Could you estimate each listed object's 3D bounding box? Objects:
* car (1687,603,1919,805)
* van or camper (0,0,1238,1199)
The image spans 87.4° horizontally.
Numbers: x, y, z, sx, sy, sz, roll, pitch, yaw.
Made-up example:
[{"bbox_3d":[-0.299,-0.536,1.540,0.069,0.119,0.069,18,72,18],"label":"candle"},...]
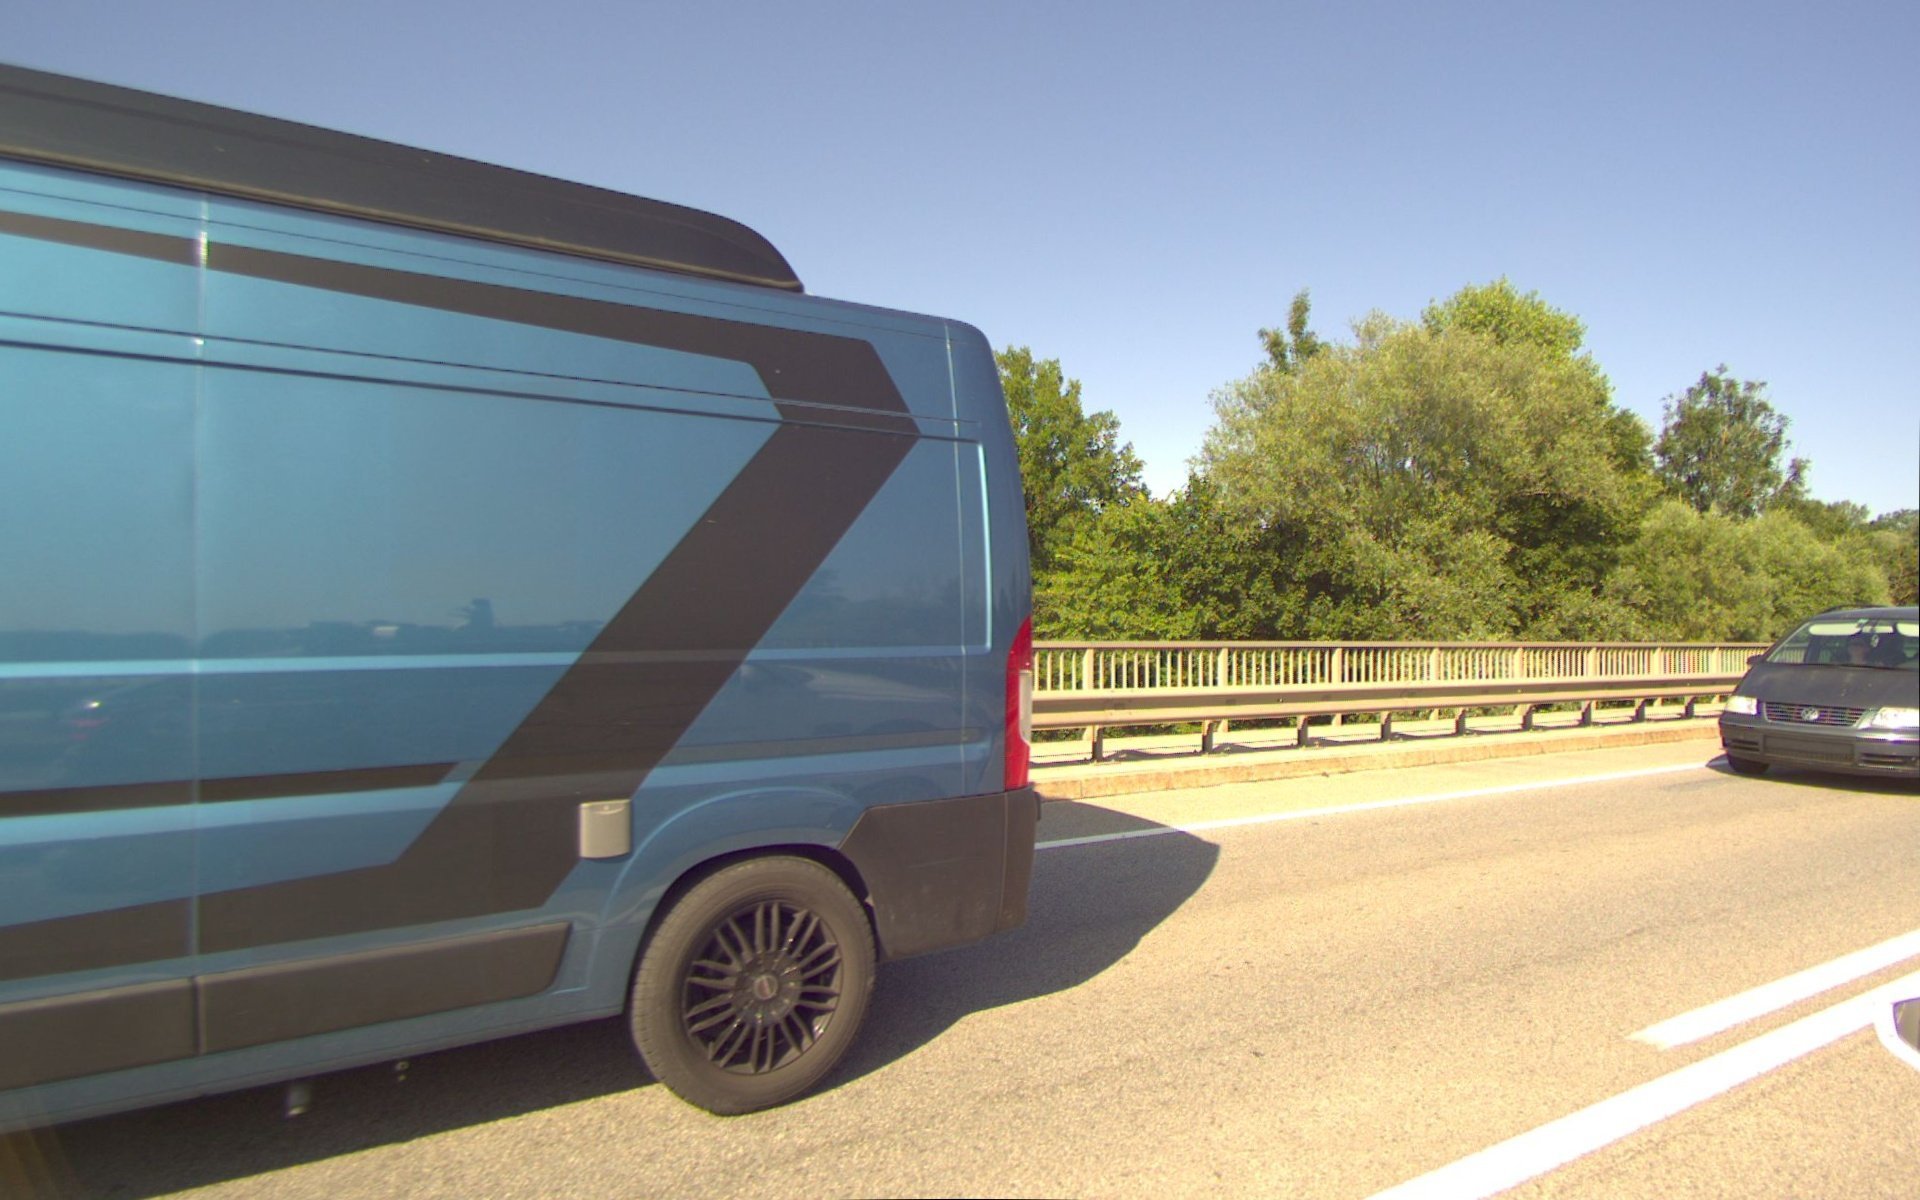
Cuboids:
[{"bbox_3d":[9.492,0.901,10.189,4.525,1.664,1.832,1,0,-31],"label":"car"},{"bbox_3d":[-2.286,0.134,3.205,6.330,2.677,2.418,1,0,-31],"label":"van or camper"}]
